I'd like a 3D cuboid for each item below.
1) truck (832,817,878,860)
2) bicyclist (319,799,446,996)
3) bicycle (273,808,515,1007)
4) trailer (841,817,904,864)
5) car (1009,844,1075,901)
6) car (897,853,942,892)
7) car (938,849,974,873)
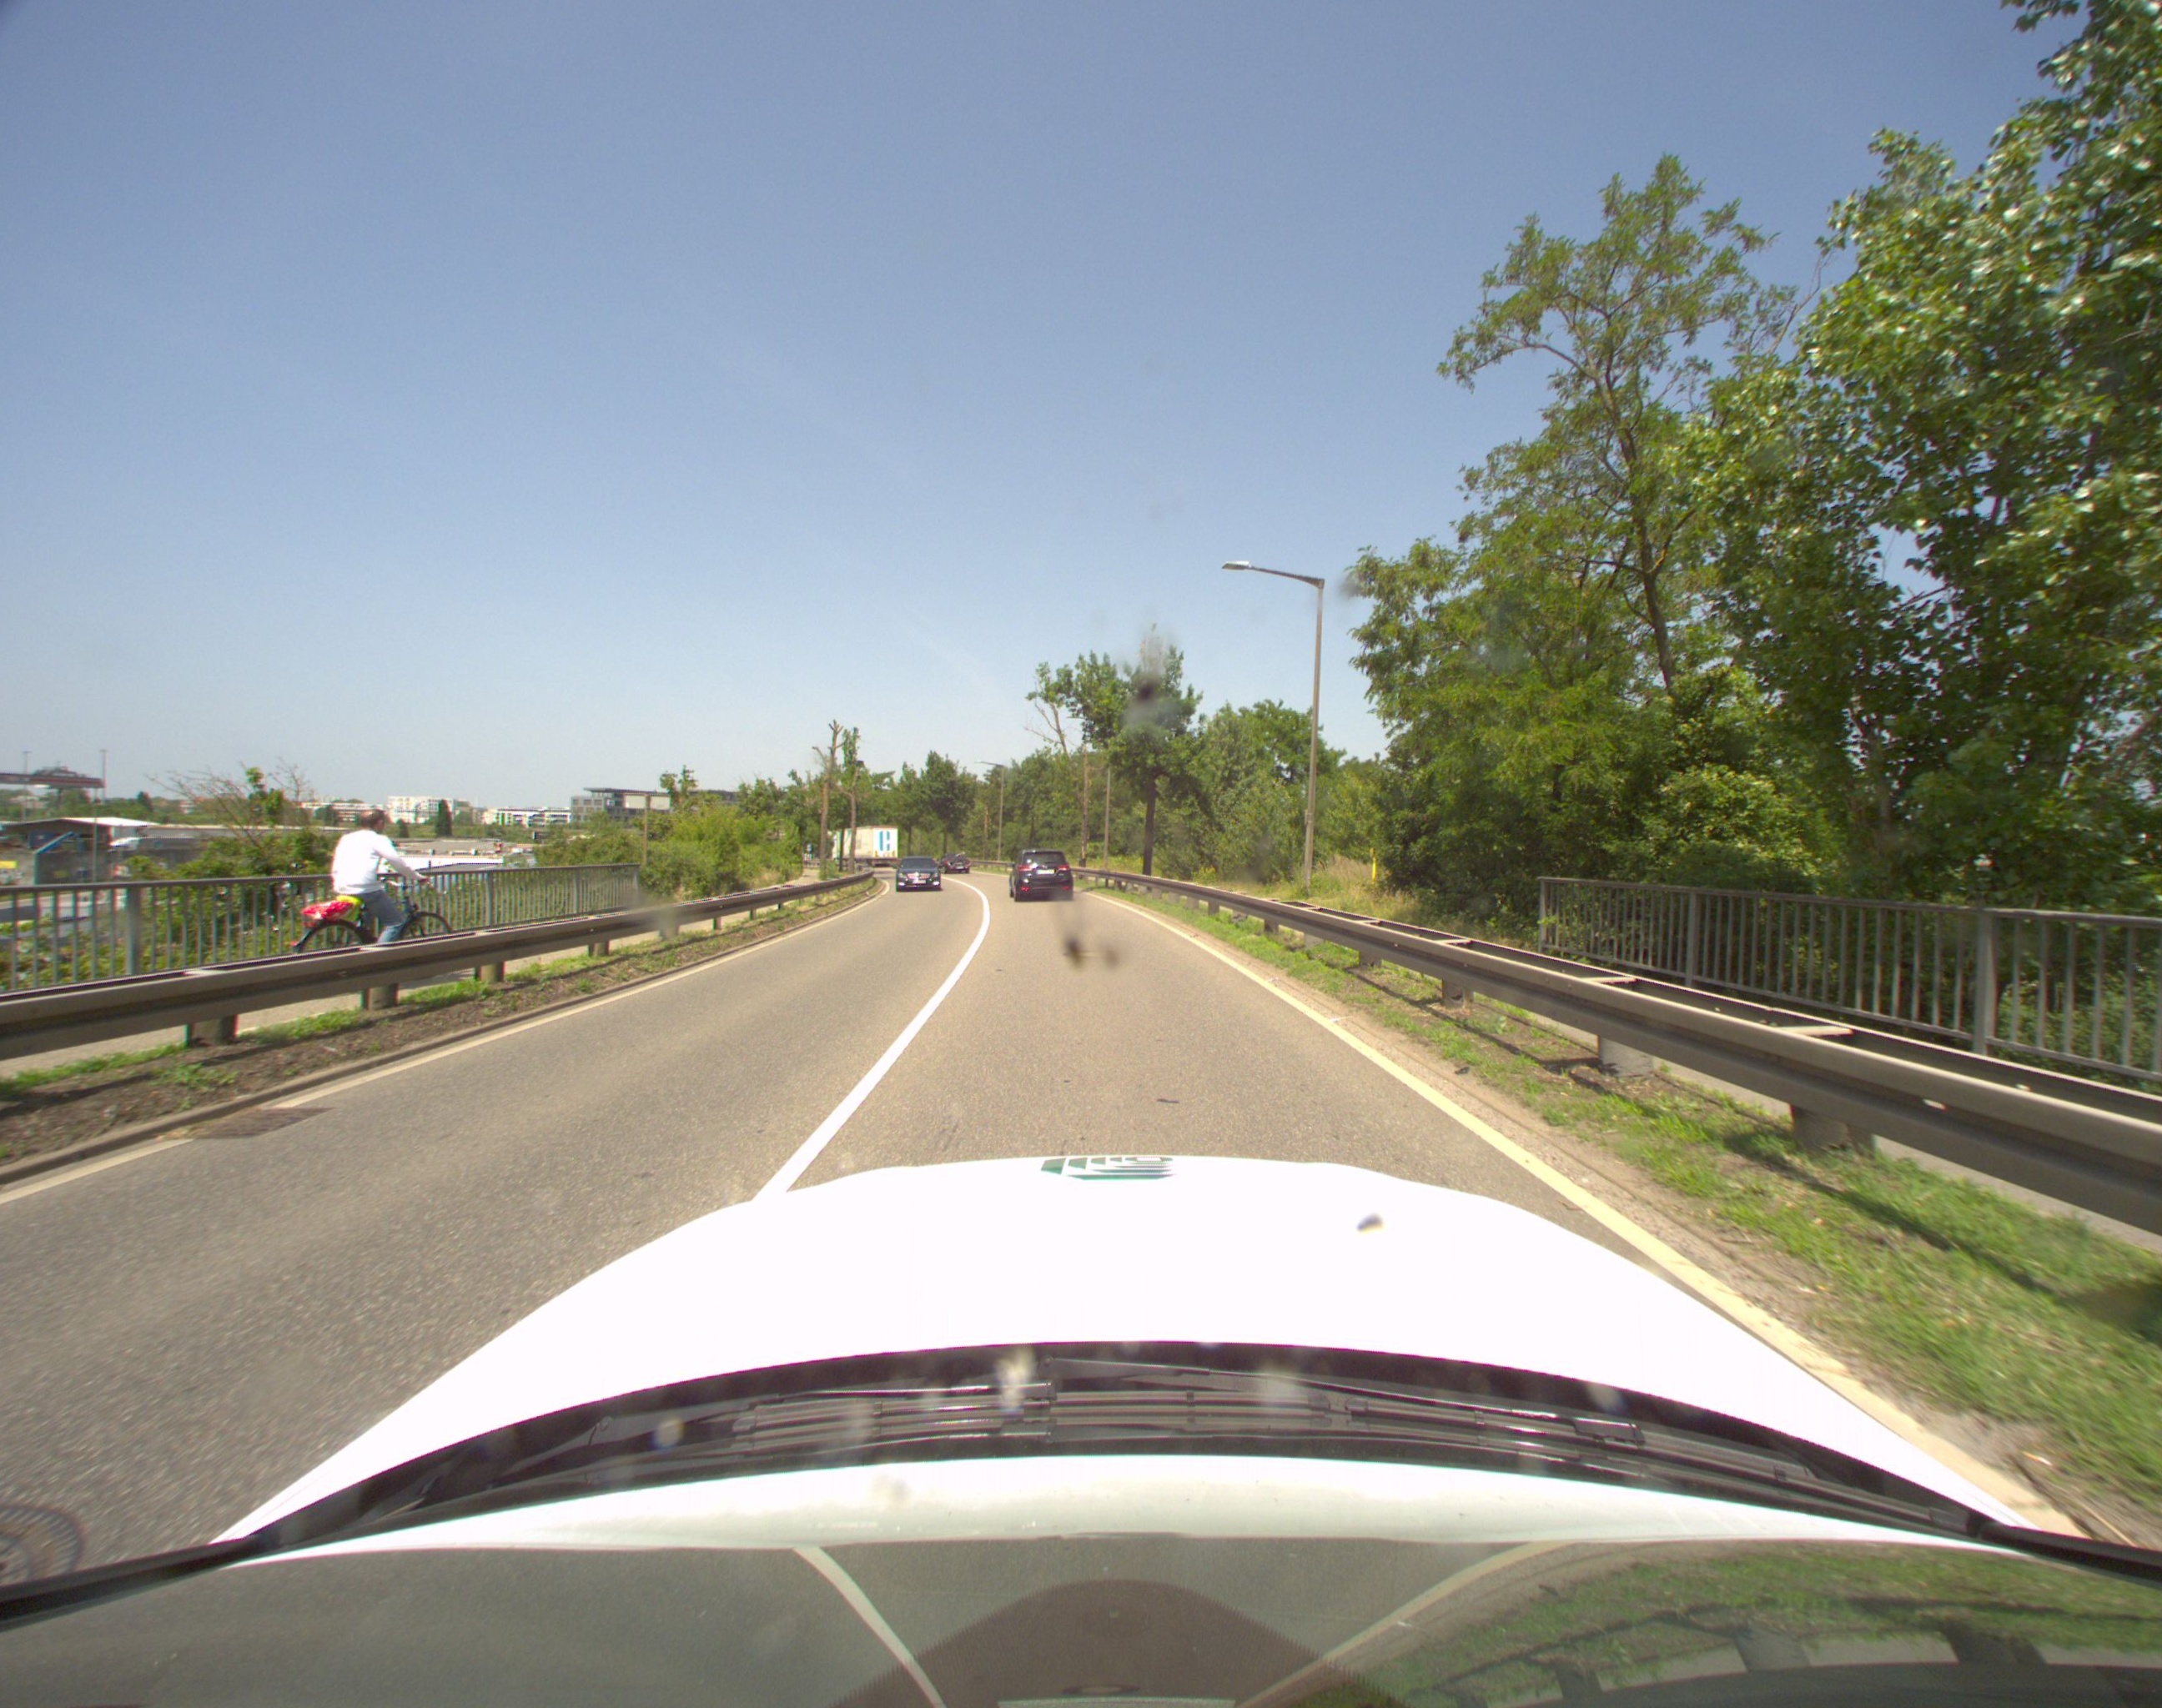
[{"bbox_3d":[-24.736,-1.725,88.981,3.592,4.440,6.459,-1,2,-27],"label":"truck"},{"bbox_3d":[-6.962,0.407,8.152,0.622,1.885,0.712,0,1,-3],"label":"bicyclist"},{"bbox_3d":[-6.983,0.453,8.478,0.696,1.801,2.179,0,1,-2],"label":"bicycle"},{"bbox_3d":[-21.211,-1.440,82.212,3.590,4.383,11.339,-1,2,-28],"label":"trailer"},{"bbox_3d":[-1.306,0.506,25.695,1.918,1.573,3.885,0,2,-5],"label":"car"},{"bbox_3d":[-6.727,0.715,33.959,1.677,1.443,4.113,-1,1,-11],"label":"car"},{"bbox_3d":[-8.560,0.442,55.627,2.015,1.429,3.757,-1,2,-15],"label":"car"}]
